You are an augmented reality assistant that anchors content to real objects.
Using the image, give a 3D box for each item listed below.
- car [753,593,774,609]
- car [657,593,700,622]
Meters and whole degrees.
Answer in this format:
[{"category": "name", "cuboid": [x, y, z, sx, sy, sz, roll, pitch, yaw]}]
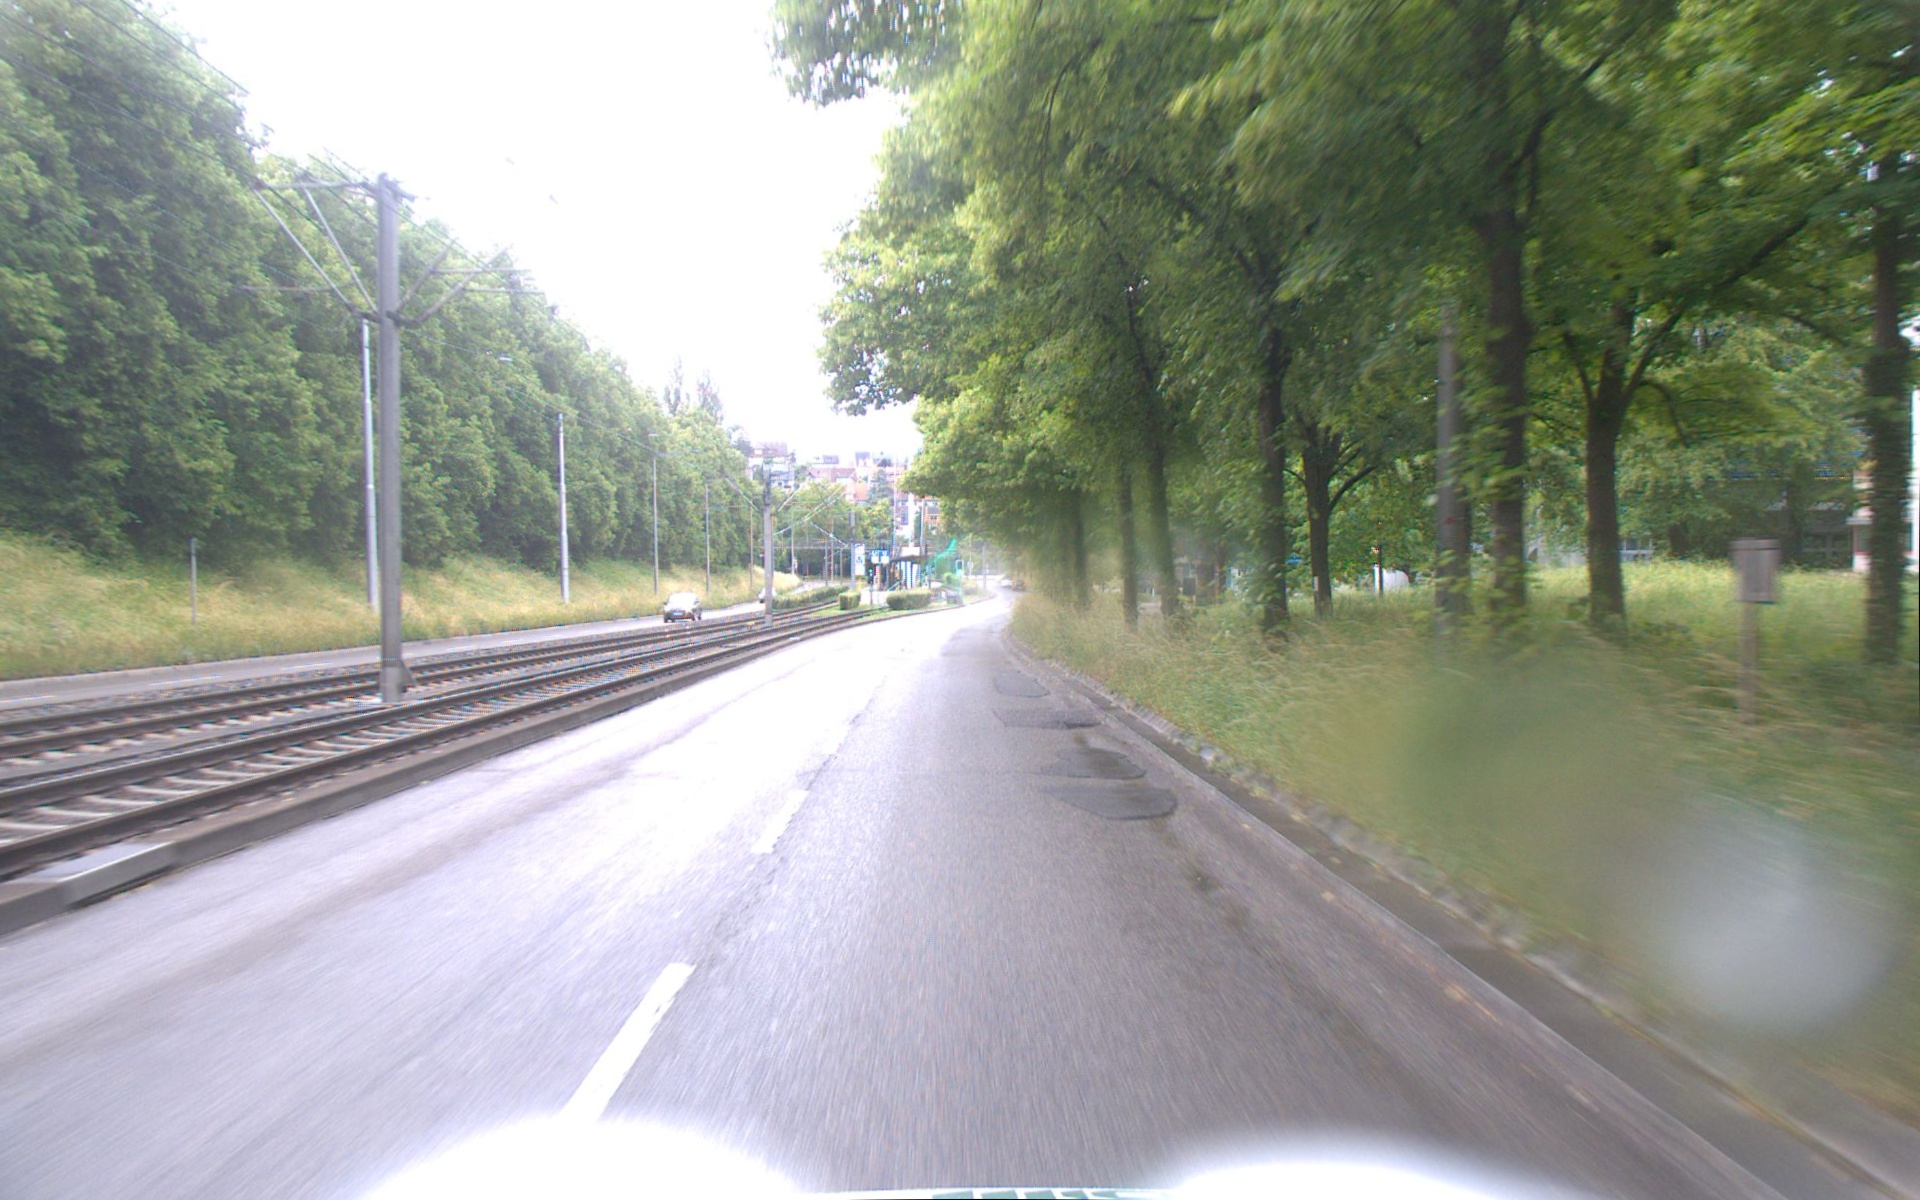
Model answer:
[{"category": "car", "cuboid": [-19.860, 0.082, 167.162, 1.749, 1.579, 3.959, -2, 0, -3]}, {"category": "car", "cuboid": [-14.934, 0.381, 87.947, 1.636, 1.468, 4.026, -3, 0, -2]}]
